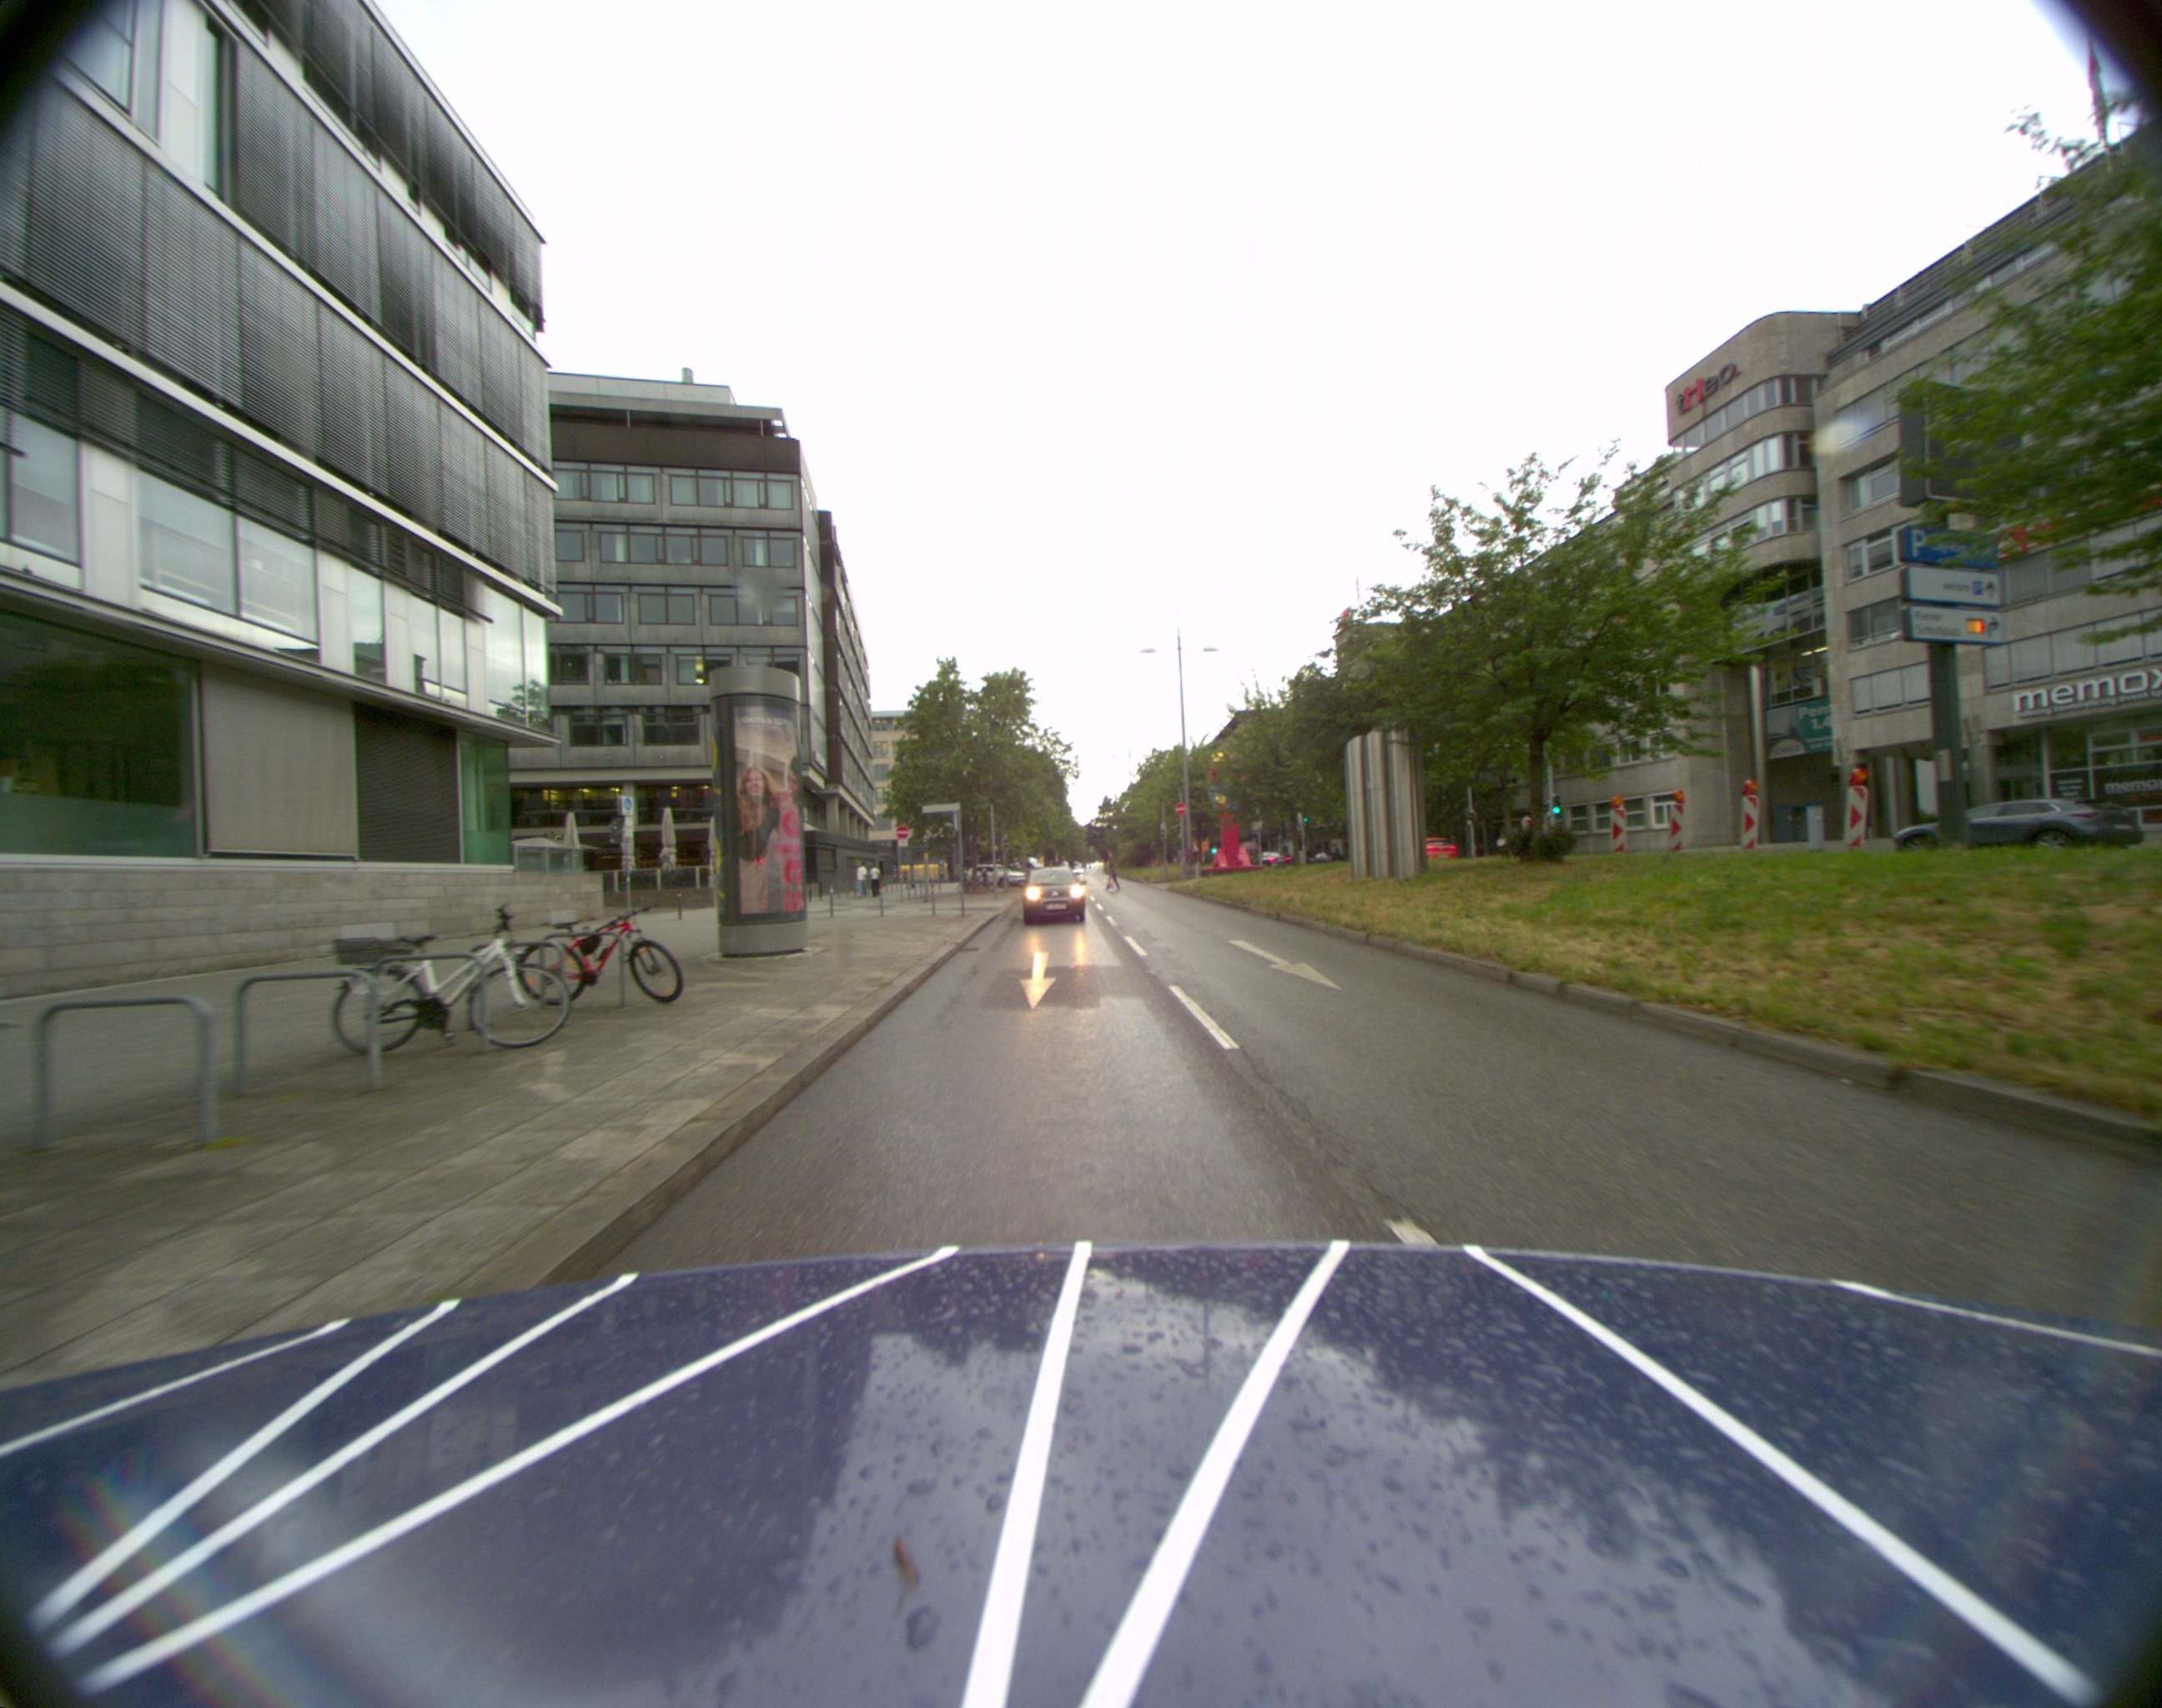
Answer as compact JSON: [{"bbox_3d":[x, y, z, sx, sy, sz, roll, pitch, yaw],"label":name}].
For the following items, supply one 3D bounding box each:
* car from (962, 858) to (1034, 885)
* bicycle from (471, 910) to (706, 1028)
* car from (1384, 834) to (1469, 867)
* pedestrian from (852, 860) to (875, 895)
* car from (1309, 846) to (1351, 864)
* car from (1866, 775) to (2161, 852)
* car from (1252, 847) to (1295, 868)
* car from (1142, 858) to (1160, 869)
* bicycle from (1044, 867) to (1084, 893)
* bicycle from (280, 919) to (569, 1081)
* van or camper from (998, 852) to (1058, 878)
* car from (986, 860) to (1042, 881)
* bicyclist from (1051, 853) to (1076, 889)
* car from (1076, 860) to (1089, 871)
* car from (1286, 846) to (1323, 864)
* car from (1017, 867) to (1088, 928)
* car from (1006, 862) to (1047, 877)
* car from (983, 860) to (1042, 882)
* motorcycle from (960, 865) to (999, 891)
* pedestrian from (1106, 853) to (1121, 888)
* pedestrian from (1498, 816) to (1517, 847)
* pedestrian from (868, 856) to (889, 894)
[{"bbox_3d":[-5.925,1.254,53.901,4.792,1.640,1.920,-4,0,30],"label":"car"},{"bbox_3d":[-5.204,1.204,8.111,1.988,1.097,0.808,-2,0,4],"label":"bicycle"},{"bbox_3d":[16.337,-0.145,36.190,1.867,1.421,4.131,-2,-1,-5],"label":"car"},{"bbox_3d":[-11.727,1.251,40.956,0.802,1.857,0.899,-3,0,7],"label":"pedestrian"},{"bbox_3d":[21.340,0.141,65.341,1.867,1.421,4.565,-2,-1,-3],"label":"car"},{"bbox_3d":[24.611,-0.969,20.412,1.867,1.715,4.791,-3,0,-3],"label":"car"},{"bbox_3d":[14.715,0.293,58.306,1.867,1.421,4.565,-2,-1,-4],"label":"car"},{"bbox_3d":[10.218,1.393,111.364,1.795,1.458,4.723,-1,-1,-6],"label":"car"},{"bbox_3d":[-0.880,1.339,39.678,1.976,1.132,0.777,-6,0,1],"label":"bicycle"},{"bbox_3d":[-5.355,1.171,6.258,1.840,1.190,0.660,-1,0,4],"label":"bicycle"},{"bbox_3d":[-5.950,1.245,84.661,6.251,2.432,2.319,-4,0,30],"label":"van or camper"},{"bbox_3d":[-5.707,1.378,64.668,4.381,1.528,1.920,-4,0,26],"label":"car"},{"bbox_3d":[-0.907,0.868,39.681,1.079,1.739,0.812,-6,2,1],"label":"bicyclist"},{"bbox_3d":[0.256,1.953,126.772,1.791,1.736,4.574,-2,-1,-3],"label":"car"},{"bbox_3d":[20.716,0.123,70.525,1.867,1.612,4.467,-2,-1,-3],"label":"car"},{"bbox_3d":[-0.865,1.113,20.940,1.635,1.408,3.832,-3,0,-6],"label":"car"},{"bbox_3d":[-5.796,1.668,80.996,4.052,1.415,1.711,-4,0,29],"label":"car"},{"bbox_3d":[-5.547,1.355,61.884,4.347,1.528,1.920,-4,0,26],"label":"car"},{"bbox_3d":[-5.946,1.405,44.368,2.087,1.349,0.677,-3,0,7],"label":"motorcycle"},{"bbox_3d":[1.563,0.782,36.522,0.528,1.675,0.722,-3,0,8],"label":"pedestrian"},{"bbox_3d":[22.850,-1.217,40.688,0.607,1.619,0.620,-3,0,1],"label":"pedestrian"},{"bbox_3d":[-10.978,1.129,41.219,0.852,2.027,0.753,-3,0,-2],"label":"pedestrian"}]
